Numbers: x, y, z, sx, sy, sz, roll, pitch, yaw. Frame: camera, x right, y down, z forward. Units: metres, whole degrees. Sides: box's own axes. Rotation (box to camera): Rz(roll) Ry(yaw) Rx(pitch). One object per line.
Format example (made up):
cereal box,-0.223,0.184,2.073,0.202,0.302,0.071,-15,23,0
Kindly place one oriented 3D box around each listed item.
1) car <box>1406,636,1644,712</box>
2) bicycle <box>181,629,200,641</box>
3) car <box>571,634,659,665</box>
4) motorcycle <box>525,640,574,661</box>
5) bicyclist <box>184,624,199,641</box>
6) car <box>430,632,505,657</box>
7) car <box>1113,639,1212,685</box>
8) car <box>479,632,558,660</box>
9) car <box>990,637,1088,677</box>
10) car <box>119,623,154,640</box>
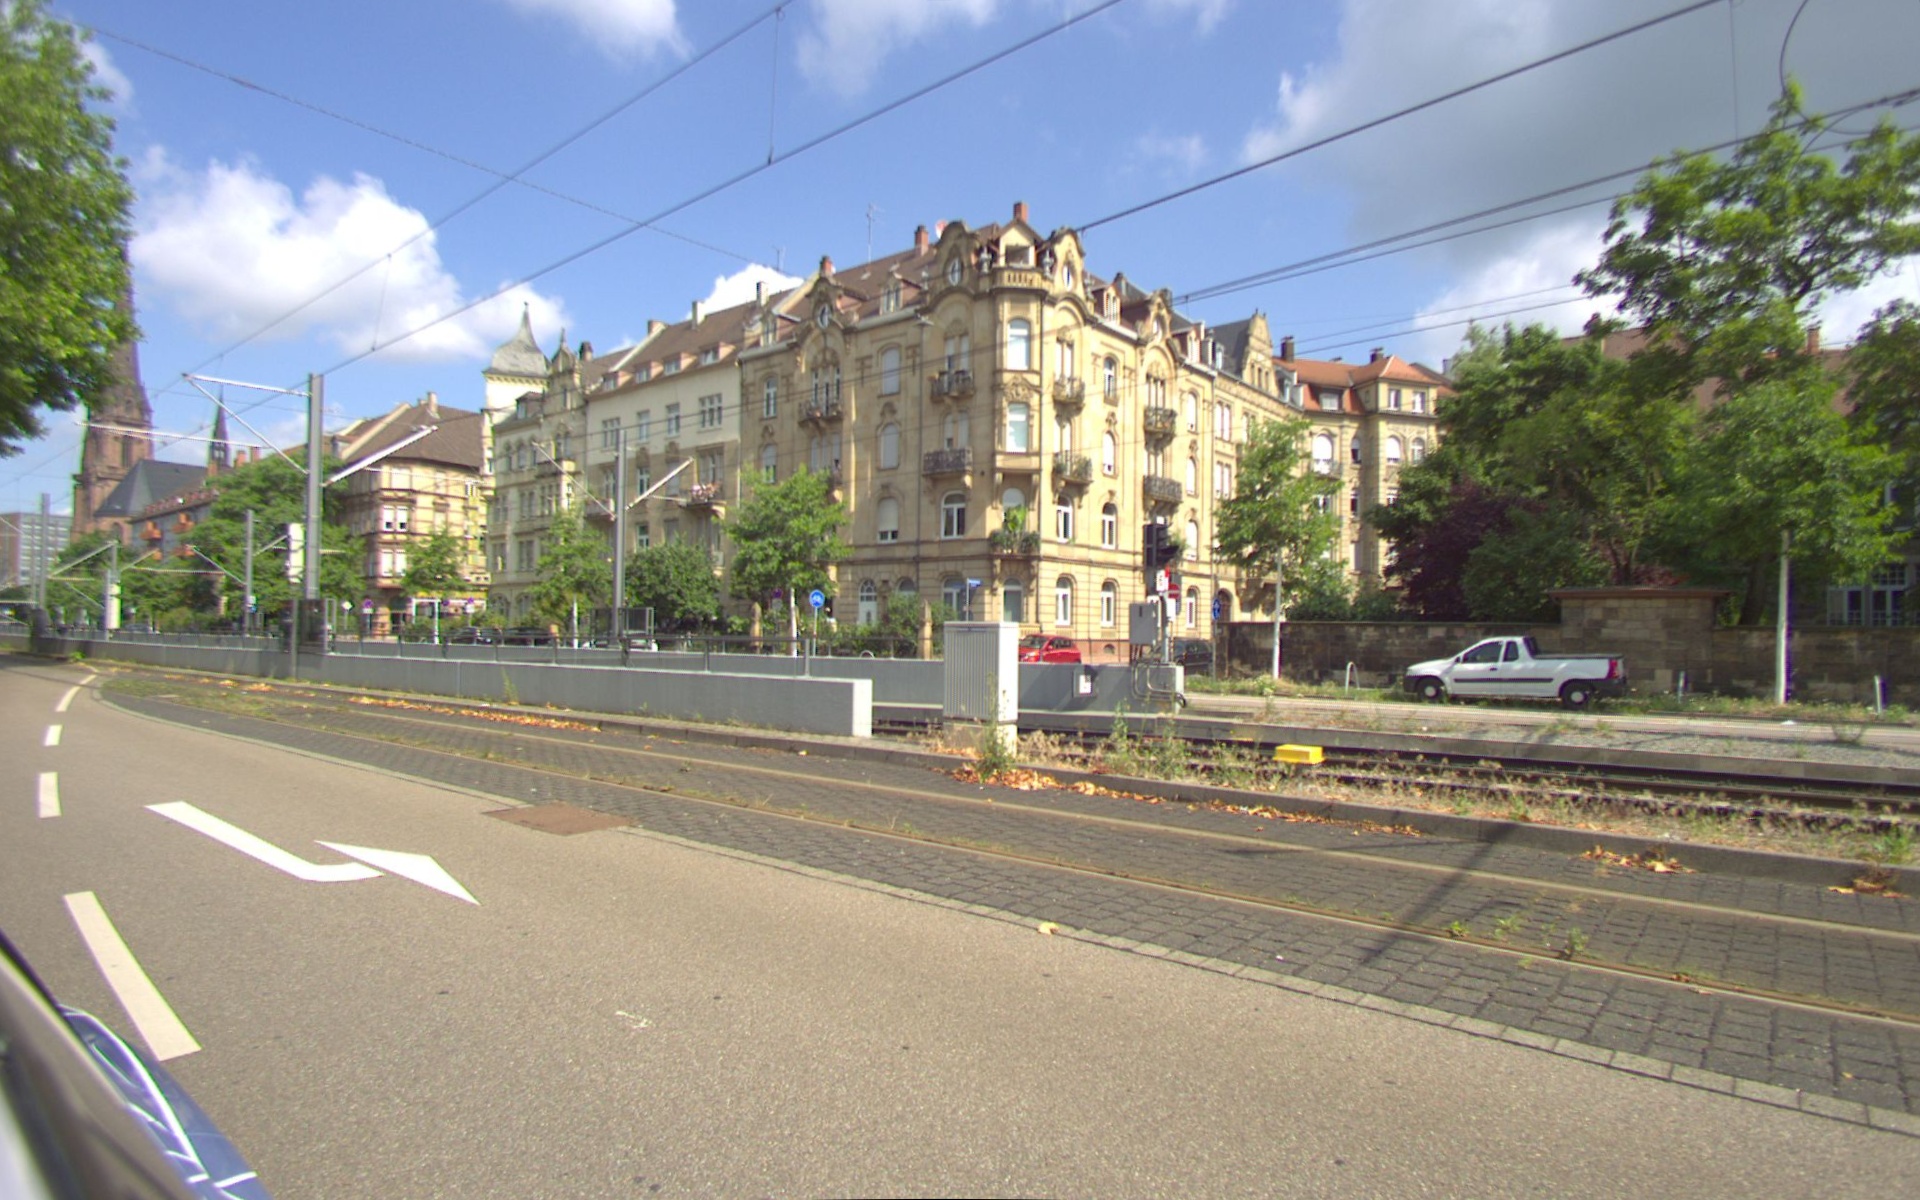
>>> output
car,12.574,1.578,22.662,4.408,1.516,1.912,-1,-3,38
bicycle,-64.580,2.919,84.959,2.139,0.986,0.768,-1,-4,41
car,-15.763,2.225,46.186,4.307,1.338,1.735,-1,-3,38
motorcycle,-20.246,2.507,49.979,1.416,0.949,1.743,-1,-4,38
bicyclist,-64.441,2.711,84.851,1.048,1.348,0.760,-1,-4,40
car,-26.972,2.419,55.352,4.722,1.337,1.928,-1,-3,41
car,7.091,2.123,35.128,1.722,1.475,3.922,-1,-3,40
car,-22.642,2.343,51.847,4.094,1.337,2.000,-1,-3,38
car,3.111,2.176,39.299,1.933,1.475,3.739,-1,-3,43
car,-84.497,3.231,103.820,4.110,1.650,1.973,-1,-3,40
